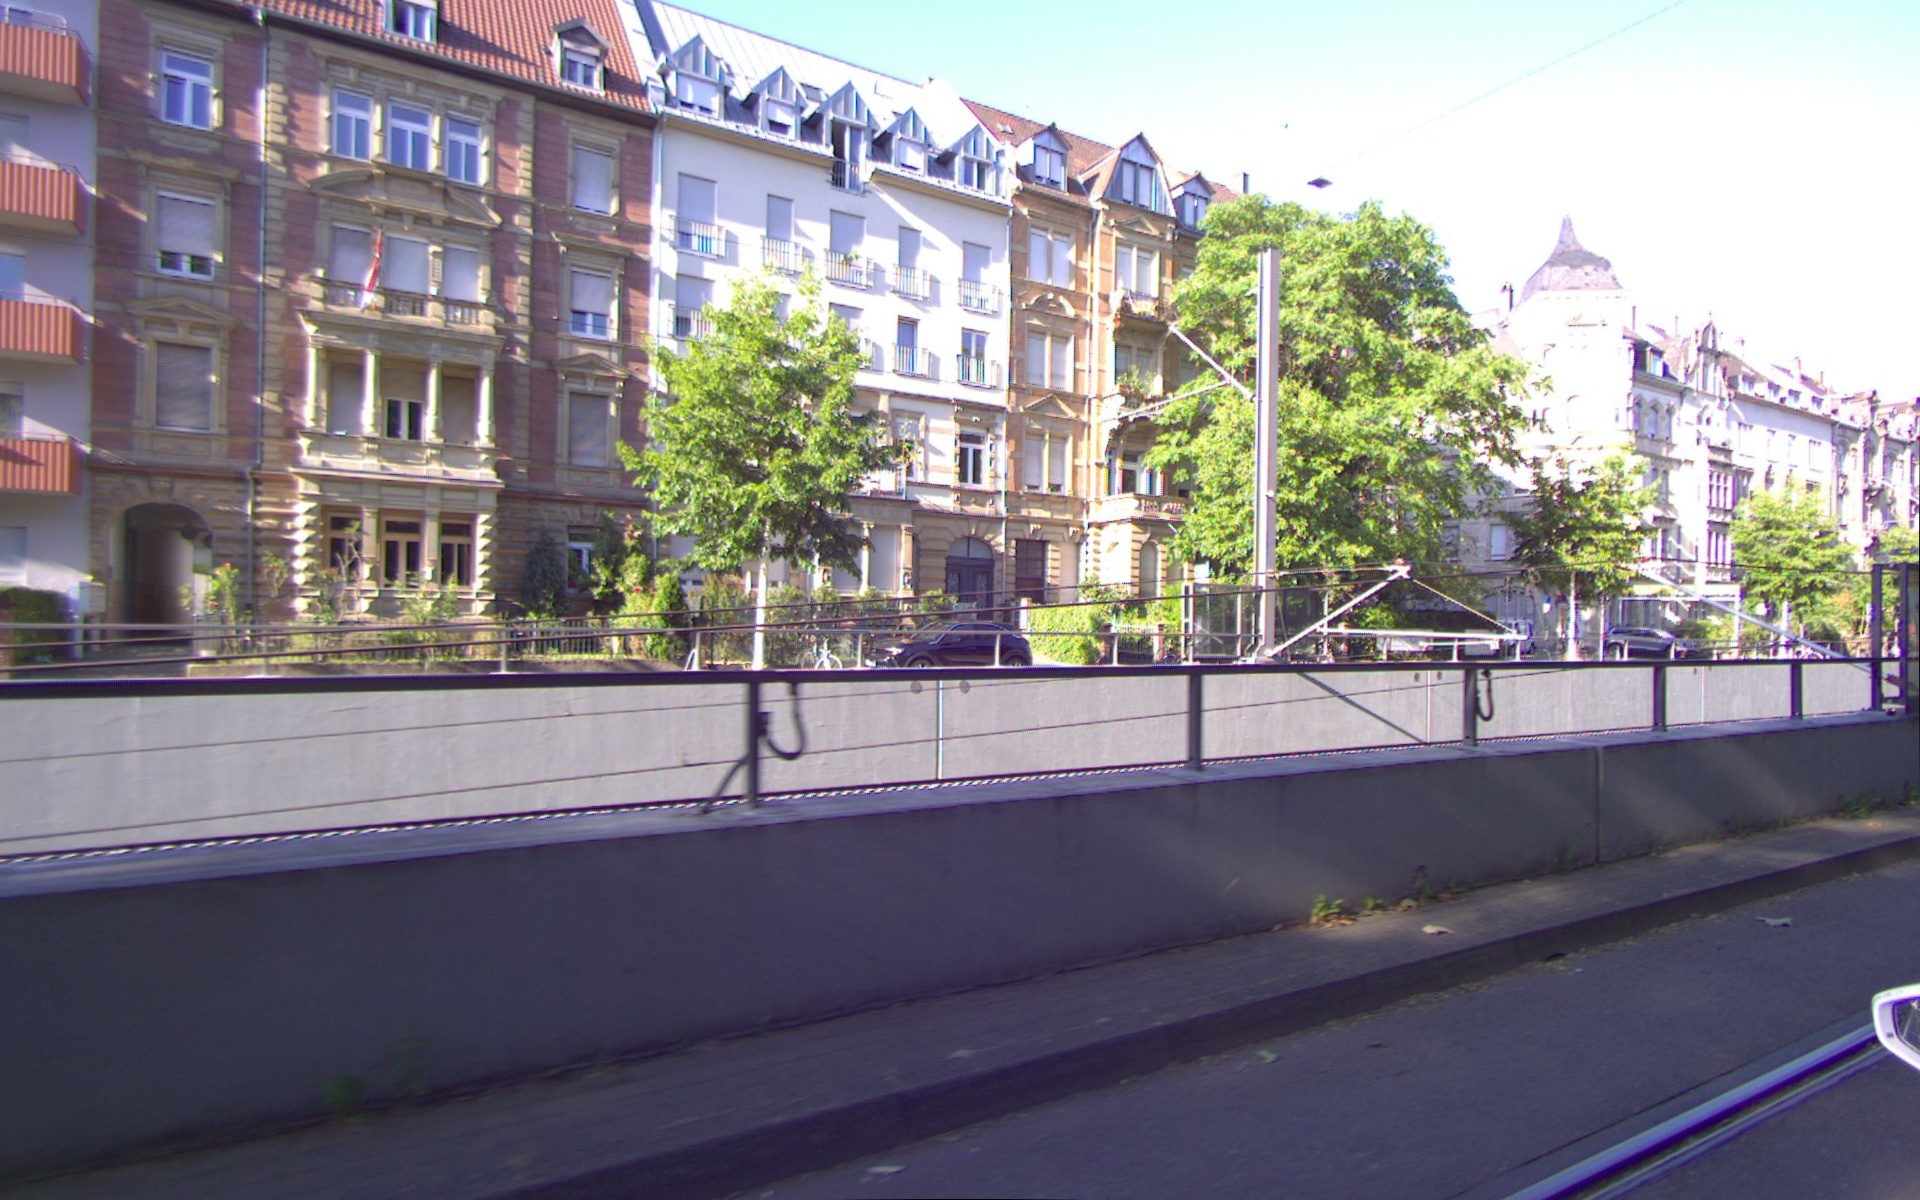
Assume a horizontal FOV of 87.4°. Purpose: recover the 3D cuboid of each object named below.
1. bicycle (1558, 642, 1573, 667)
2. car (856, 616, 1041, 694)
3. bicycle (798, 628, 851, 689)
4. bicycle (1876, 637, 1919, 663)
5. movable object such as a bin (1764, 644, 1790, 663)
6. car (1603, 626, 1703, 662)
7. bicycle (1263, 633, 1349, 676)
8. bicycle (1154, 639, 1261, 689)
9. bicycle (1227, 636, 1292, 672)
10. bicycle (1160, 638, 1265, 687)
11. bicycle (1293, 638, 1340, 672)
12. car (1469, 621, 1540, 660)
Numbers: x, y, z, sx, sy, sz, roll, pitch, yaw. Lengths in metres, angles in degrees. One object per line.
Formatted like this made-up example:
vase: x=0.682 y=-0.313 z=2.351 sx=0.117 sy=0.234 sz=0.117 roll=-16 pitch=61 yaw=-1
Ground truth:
bicycle: x=26.158 y=2.371 z=43.393 sx=0.447 sy=1.018 sz=1.942 roll=3 pitch=-2 yaw=29
car: x=-0.242 y=1.242 z=23.601 sx=3.956 sy=1.606 sz=1.822 roll=1 pitch=2 yaw=-33
bicycle: x=-3.010 y=1.261 z=22.117 sx=0.555 sy=1.194 sz=1.801 roll=1 pitch=2 yaw=-27
bicycle: x=50.481 y=2.674 z=54.002 sx=0.591 sy=1.296 sz=1.726 roll=1 pitch=-1 yaw=-24
movable object such as a bin: x=44.428 y=2.916 z=54.635 sx=0.776 sy=0.932 sz=0.890 roll=1 pitch=2 yaw=-36
car: x=36.370 y=2.275 z=52.797 sx=1.809 sy=1.646 sz=3.955 roll=1 pitch=1 yaw=-38
bicycle: x=10.355 y=1.611 z=30.133 sx=2.333 sy=1.113 sz=0.556 roll=3 pitch=2 yaw=30
bicycle: x=6.765 y=1.730 z=27.499 sx=2.735 sy=1.113 sz=0.642 roll=3 pitch=2 yaw=28
bicycle: x=9.766 y=1.745 z=32.729 sx=2.348 sy=1.113 sz=0.552 roll=1 pitch=2 yaw=-31
bicycle: x=7.047 y=1.726 z=28.135 sx=2.735 sy=1.113 sz=0.642 roll=3 pitch=2 yaw=28
bicycle: x=10.828 y=1.658 z=30.530 sx=1.246 sy=0.917 sz=0.538 roll=3 pitch=2 yaw=30
car: x=29.362 y=2.149 z=54.097 sx=4.447 sy=1.874 sz=1.975 roll=1 pitch=2 yaw=-42
